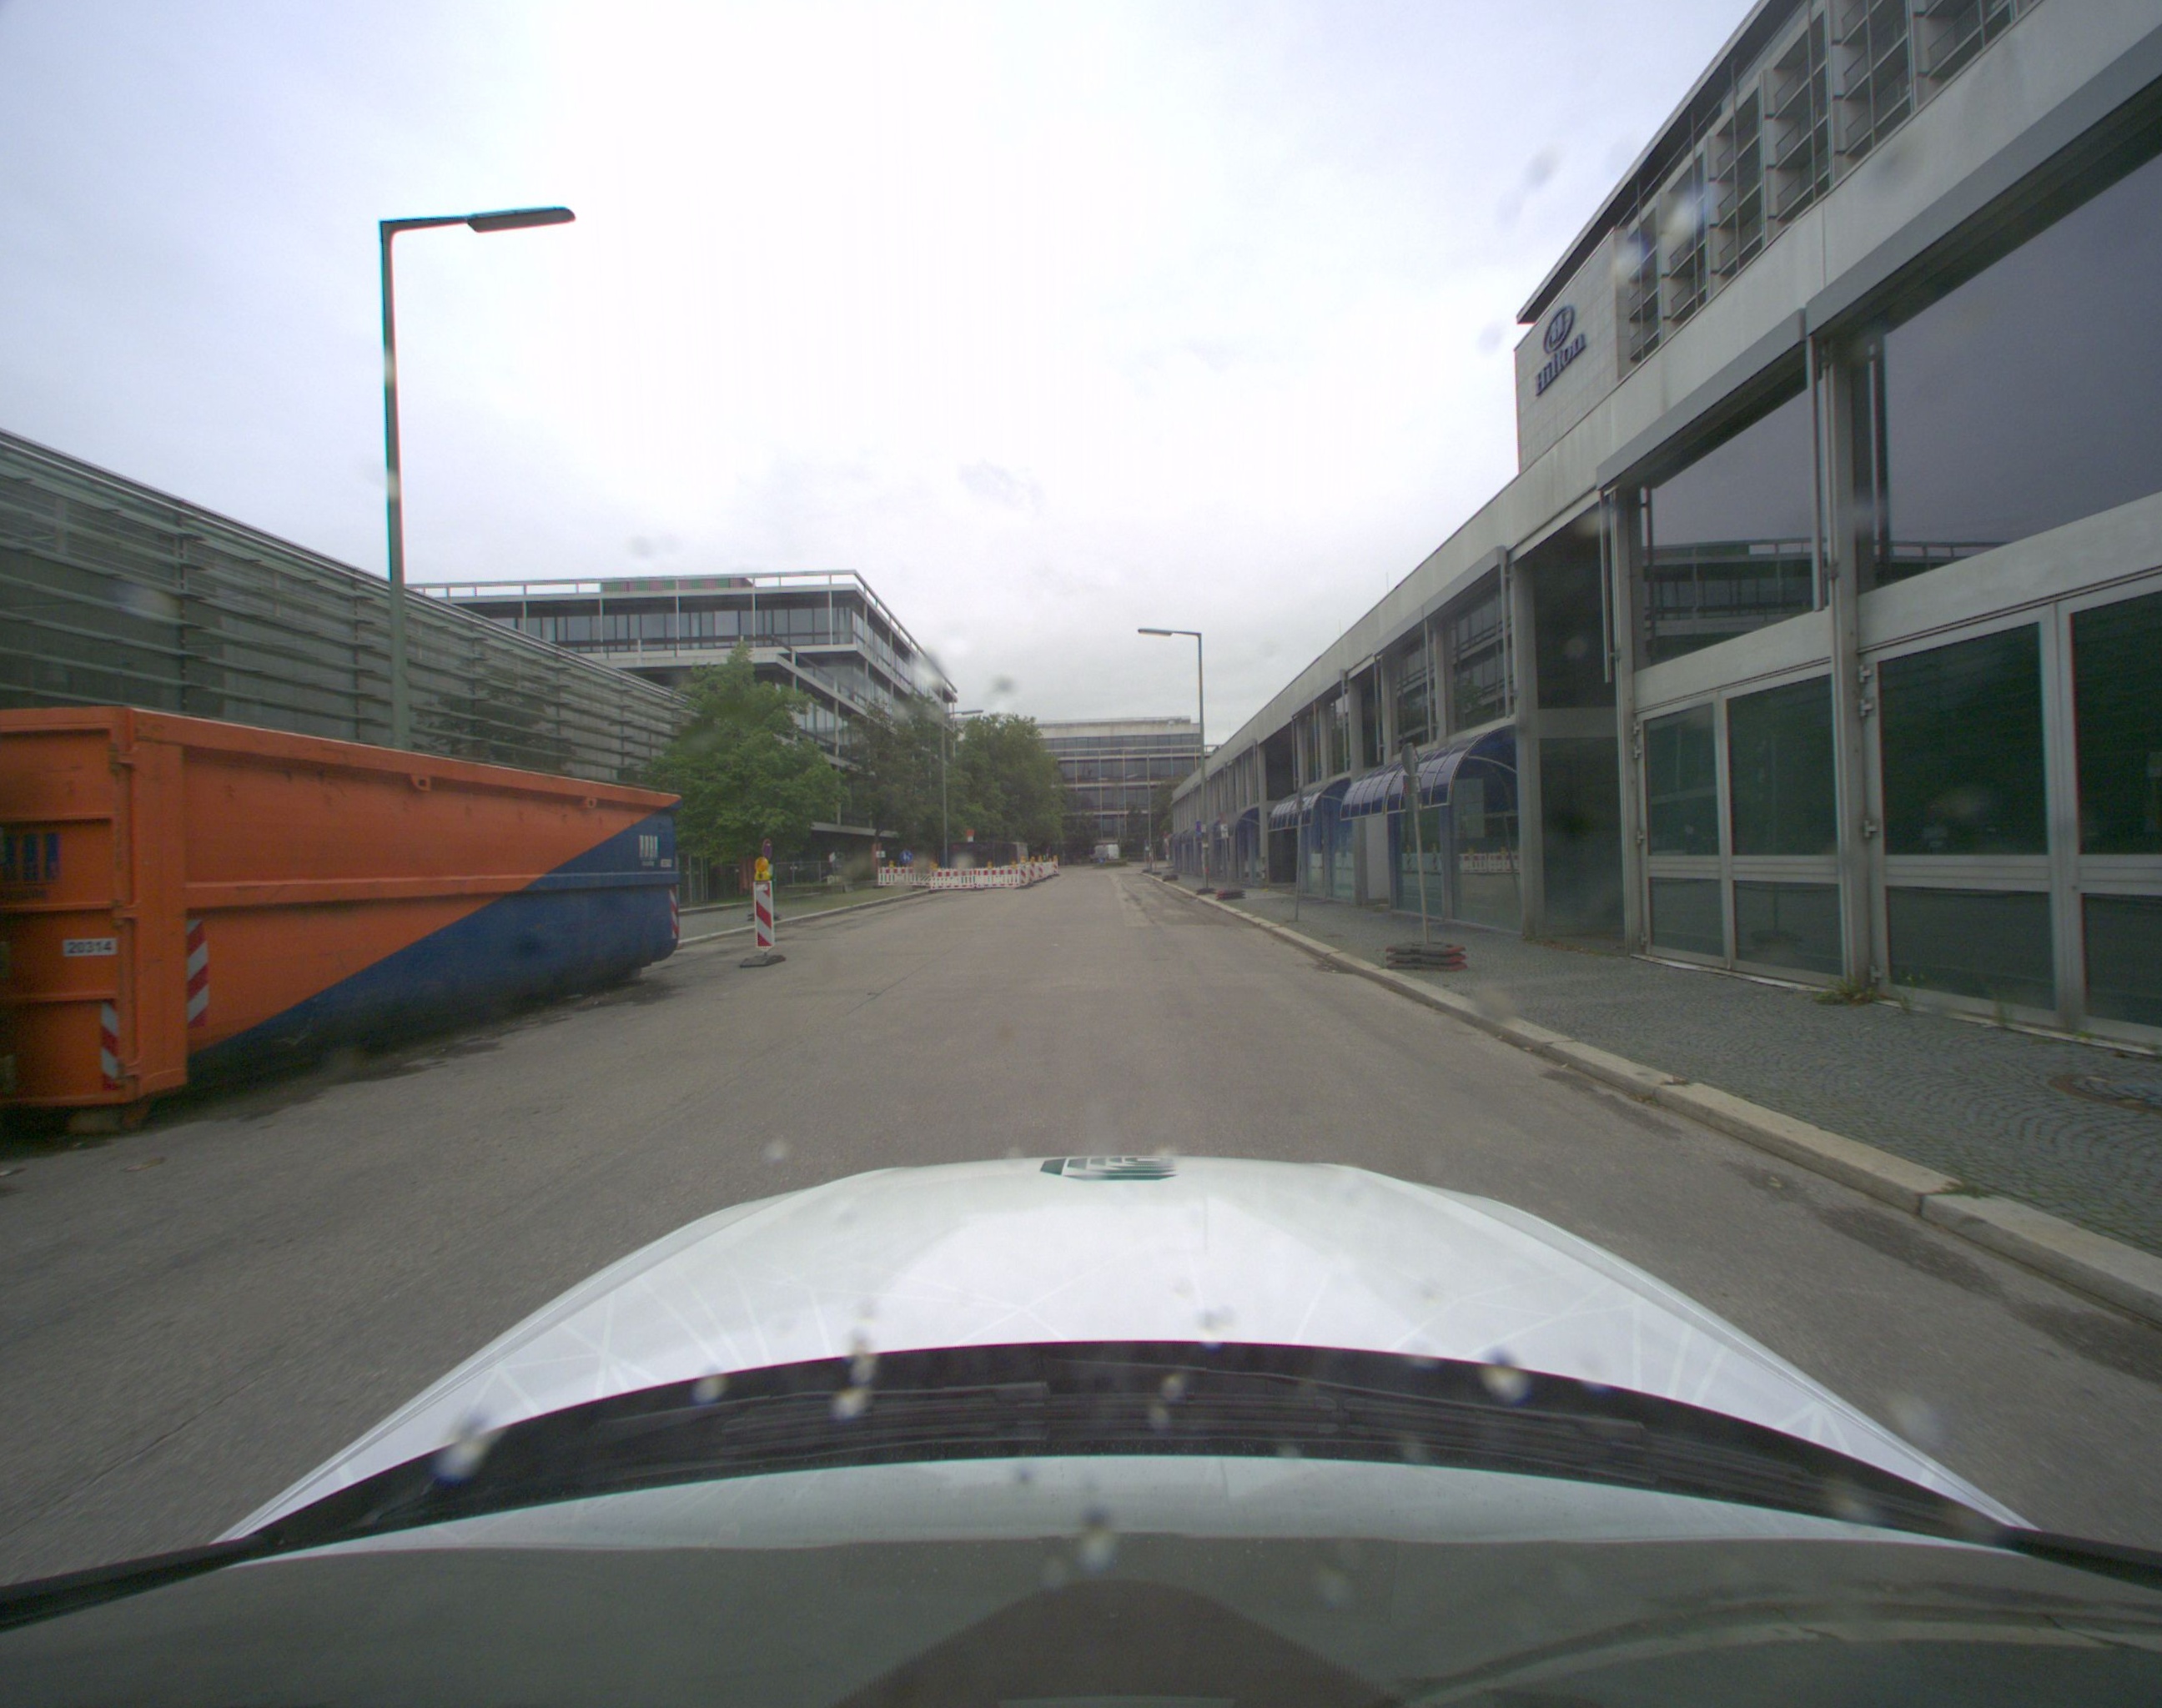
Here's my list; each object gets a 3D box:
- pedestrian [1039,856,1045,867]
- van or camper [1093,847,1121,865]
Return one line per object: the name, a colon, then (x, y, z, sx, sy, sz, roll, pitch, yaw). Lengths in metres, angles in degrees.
pedestrian: (-5.610, 1.066, 117.382, 0.743, 1.677, 0.678, -1, 0, -18)
van or camper: (3.789, 0.262, 118.634, 2.095, 2.492, 5.026, -1, 0, -24)
